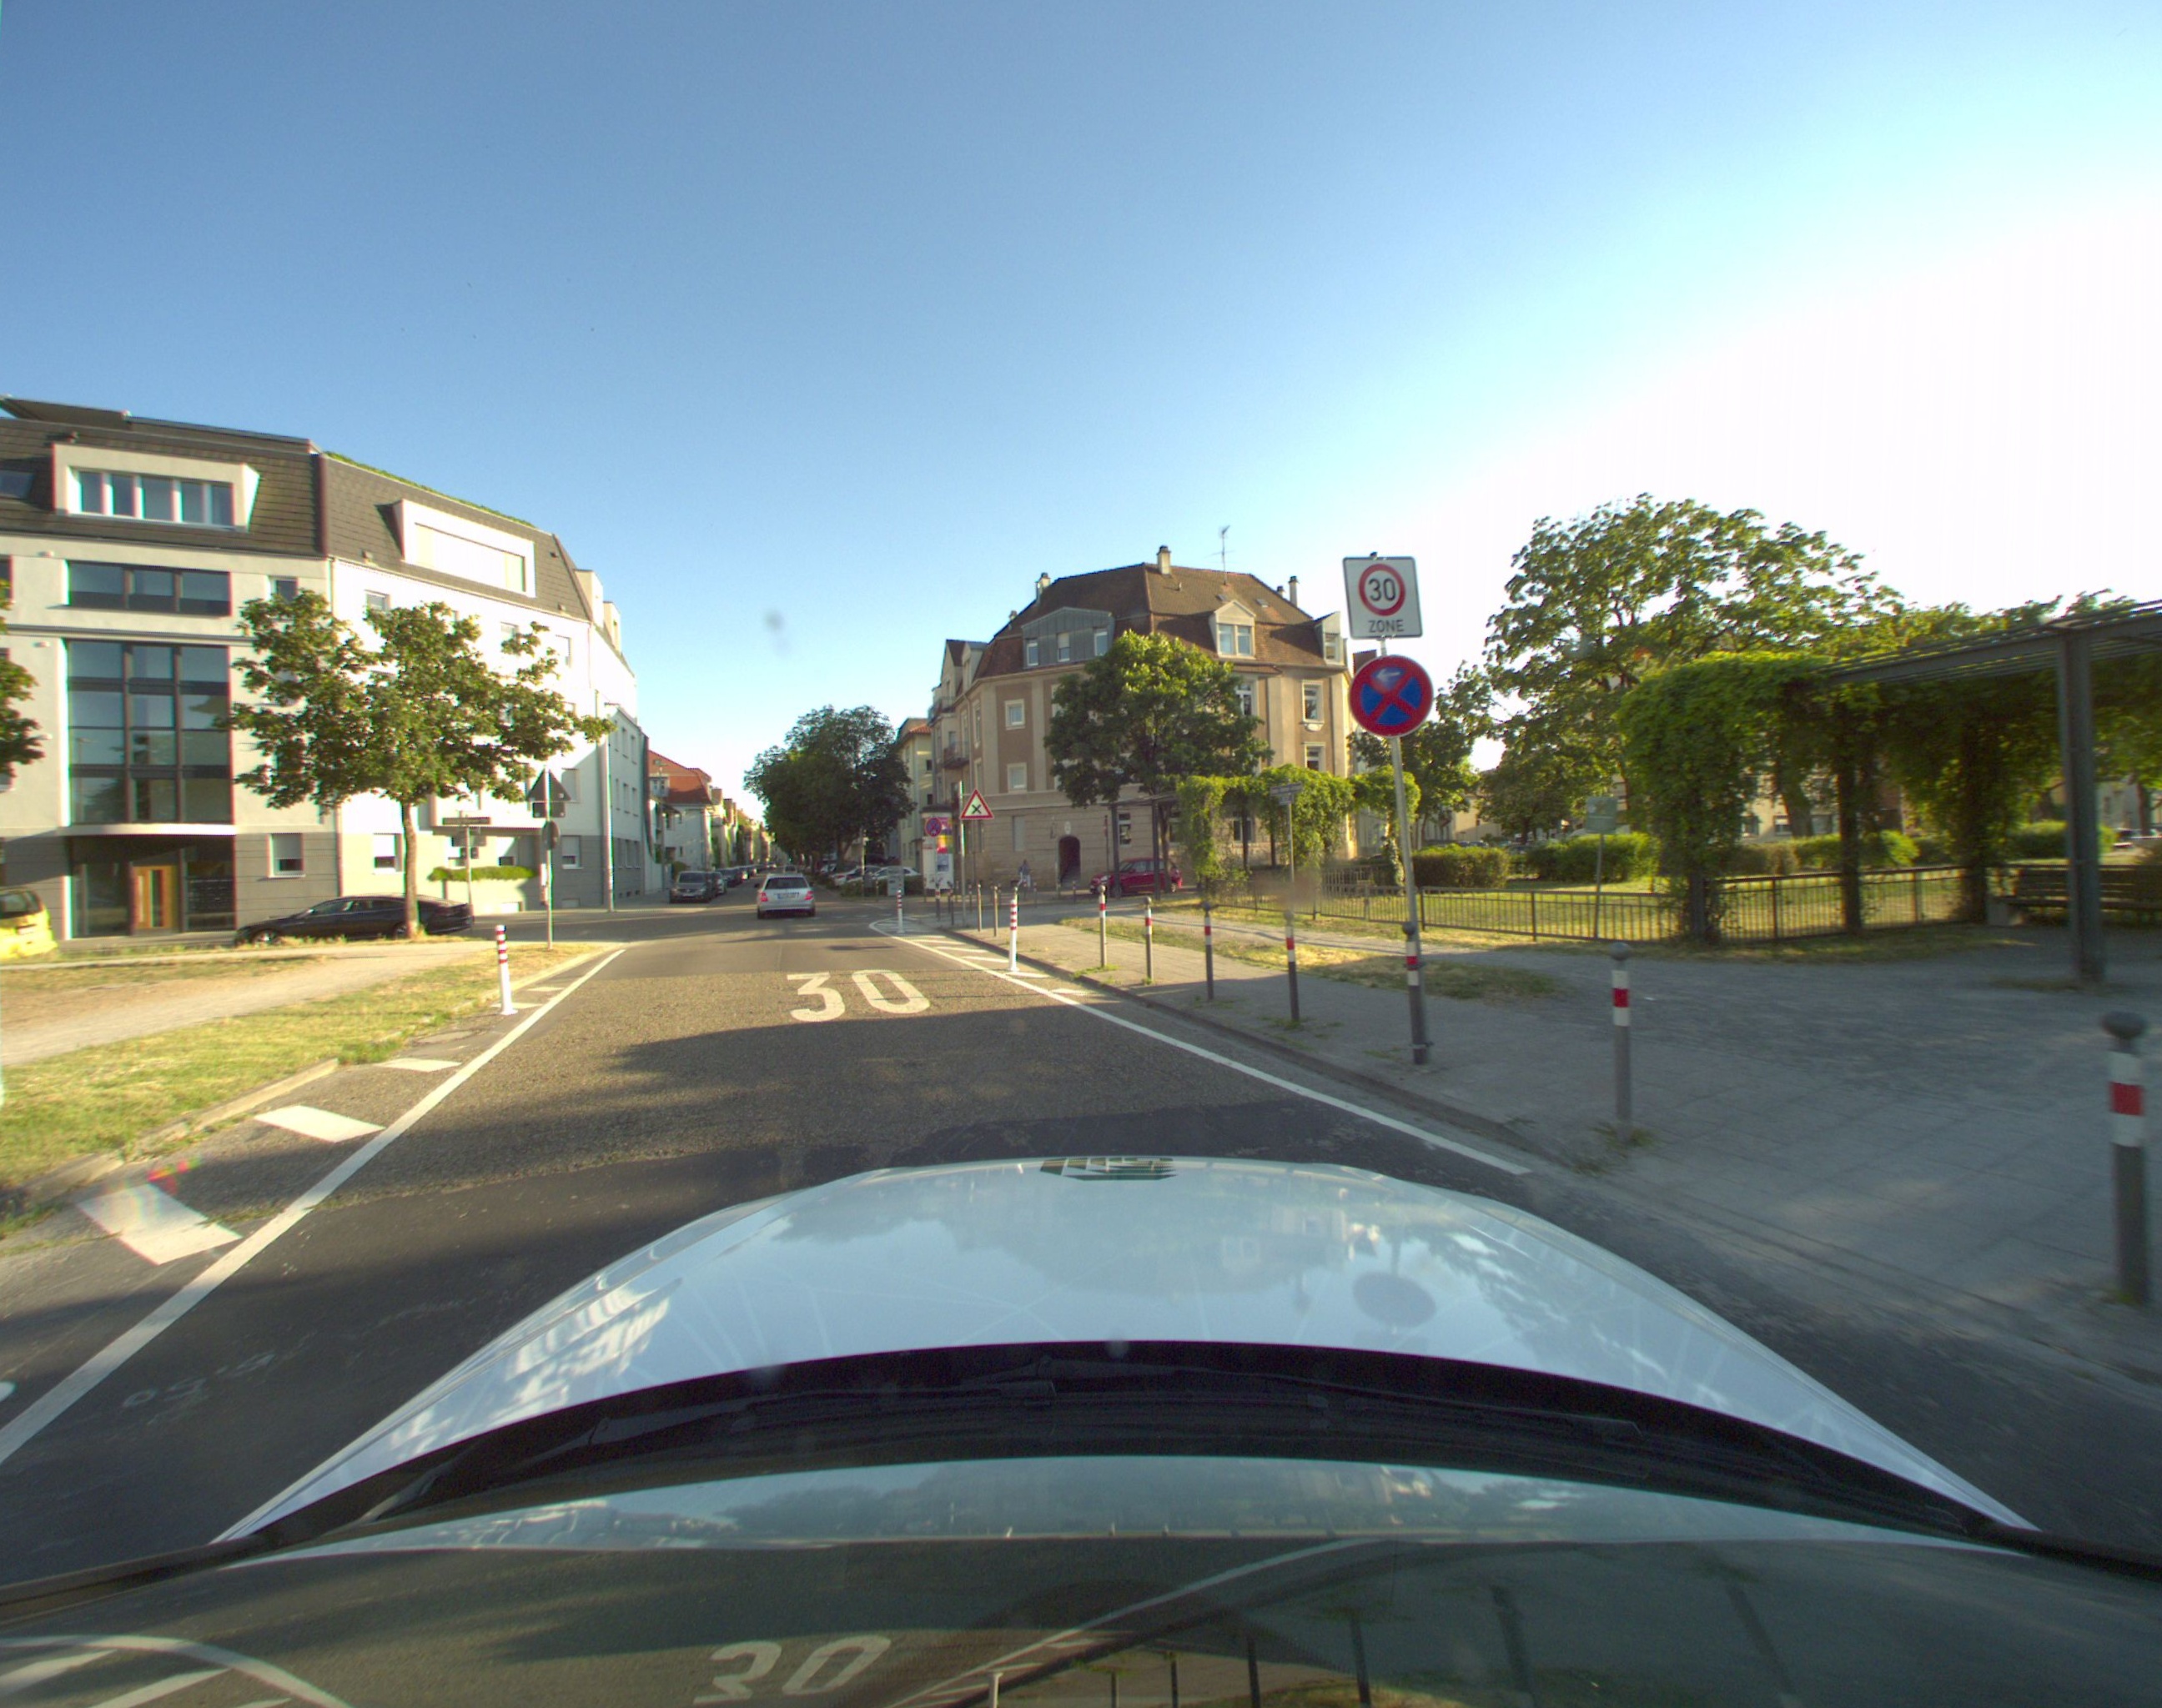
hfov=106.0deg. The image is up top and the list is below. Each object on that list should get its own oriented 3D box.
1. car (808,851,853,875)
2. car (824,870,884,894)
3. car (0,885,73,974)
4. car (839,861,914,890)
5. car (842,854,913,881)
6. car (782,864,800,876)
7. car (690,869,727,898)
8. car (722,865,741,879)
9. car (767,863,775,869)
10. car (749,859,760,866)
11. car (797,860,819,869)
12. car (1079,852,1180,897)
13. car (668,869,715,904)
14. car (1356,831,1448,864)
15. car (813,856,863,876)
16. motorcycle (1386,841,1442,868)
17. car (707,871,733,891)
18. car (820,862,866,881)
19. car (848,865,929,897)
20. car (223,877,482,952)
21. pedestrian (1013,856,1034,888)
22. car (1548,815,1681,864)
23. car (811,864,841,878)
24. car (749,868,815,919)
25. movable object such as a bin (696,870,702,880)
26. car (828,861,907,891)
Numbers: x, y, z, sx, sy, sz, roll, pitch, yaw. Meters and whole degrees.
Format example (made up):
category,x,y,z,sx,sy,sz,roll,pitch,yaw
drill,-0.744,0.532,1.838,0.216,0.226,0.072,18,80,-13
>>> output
category,x,y,z,sx,sy,sz,roll,pitch,yaw
car,-34.030,1.225,110.492,5.566,2.968,2.453,-2,0,-23
car,-17.232,2.088,61.899,4.207,1.558,1.860,-3,0,-22
car,-27.449,1.853,18.879,4.697,2.014,2.018,-2,-1,-22
car,-12.391,1.275,49.283,4.159,1.448,1.661,-3,0,-22
car,-14.286,0.924,57.113,4.544,1.640,1.860,-3,0,-22
car,-35.696,1.973,100.316,1.822,1.473,4.190,-2,-1,-18
car,-22.905,1.785,50.165,1.892,1.591,4.059,-2,0,-23
car,-38.852,1.965,90.613,1.665,1.499,3.728,-1,-1,-20
car,-74.037,2.859,194.359,1.532,1.474,4.246,-2,-1,-17
car,-65.093,1.711,162.472,1.805,1.387,3.581,-1,0,-20
car,-50.156,1.957,149.626,3.857,1.482,1.793,-2,0,-20
car,2.157,0.857,36.163,4.087,1.740,1.800,-2,2,-19
car,-19.600,1.589,41.087,1.892,1.591,4.059,-2,0,-23
car,16.087,-0.332,40.840,4.087,1.533,1.800,-2,1,-19
car,-24.235,1.151,81.169,4.643,1.836,1.940,-1,0,-21
motorcycle,19.856,0.033,48.645,0.856,1.487,3.198,-1,-2,-32
car,-29.186,2.138,65.895,1.862,1.498,4.619,-1,-1,-23
car,-21.449,1.571,73.357,3.745,1.558,1.713,-3,0,-22
car,-10.565,1.442,44.709,4.064,1.505,1.848,-3,0,-22
car,-19.408,1.550,22.000,4.840,1.669,1.776,-2,0,-20
pedestrian,-2.951,0.914,41.889,0.812,1.544,0.746,1,2,17
car,33.193,-0.846,50.857,6.603,2.744,2.332,-2,0,41
car,-33.738,2.204,107.675,3.610,1.659,1.637,-2,0,-23
car,-9.882,1.263,27.187,1.822,1.473,4.190,-2,-1,-18
movable object such as a bin,-41.289,2.302,88.085,0.529,1.107,0.585,-1,-2,-21
car,-13.478,1.367,51.540,4.501,1.525,1.937,-3,1,-27
